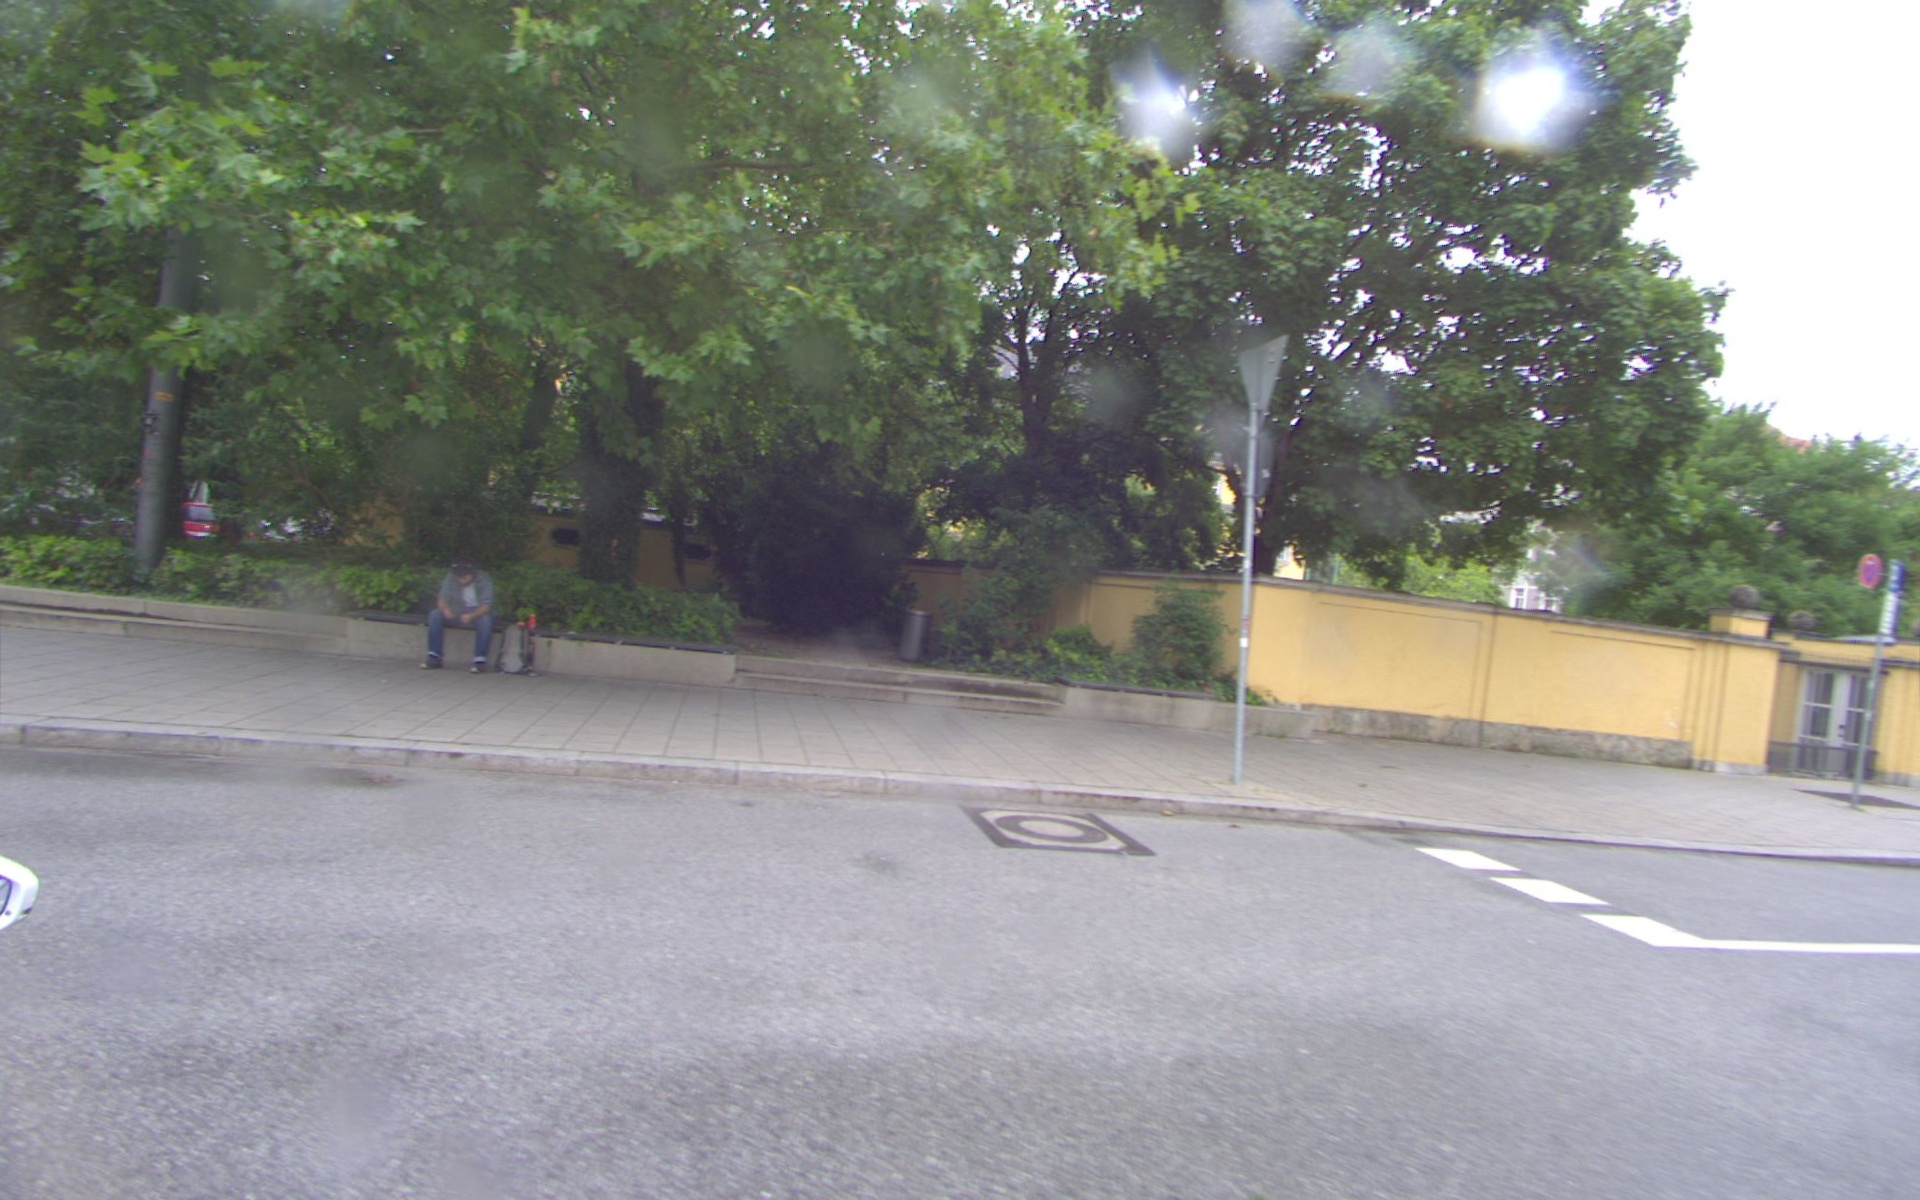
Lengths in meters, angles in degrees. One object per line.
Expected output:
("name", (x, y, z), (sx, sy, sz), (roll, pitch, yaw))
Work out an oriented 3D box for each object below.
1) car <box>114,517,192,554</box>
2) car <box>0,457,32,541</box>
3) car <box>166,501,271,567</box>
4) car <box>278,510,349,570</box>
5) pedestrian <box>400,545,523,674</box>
("car", (-42.157, -3.347, 52.649), (1.875, 1.591, 4.055), (6, 0, -21))
("car", (-34.981, -3.715, 34.326), (2.309, 2.958, 6.549), (6, 0, -20))
("car", (-25.842, -2.257, 35.213), (2.022, 1.946, 4.418), (6, 0, -26))
("car", (-31.839, -2.938, 49.696), (2.021, 2.590, 5.216), (6, 0, -25))
("pedestrian", (-5.143, 0.089, 10.440), (0.800, 1.204, 0.917), (6, 1, -9))
